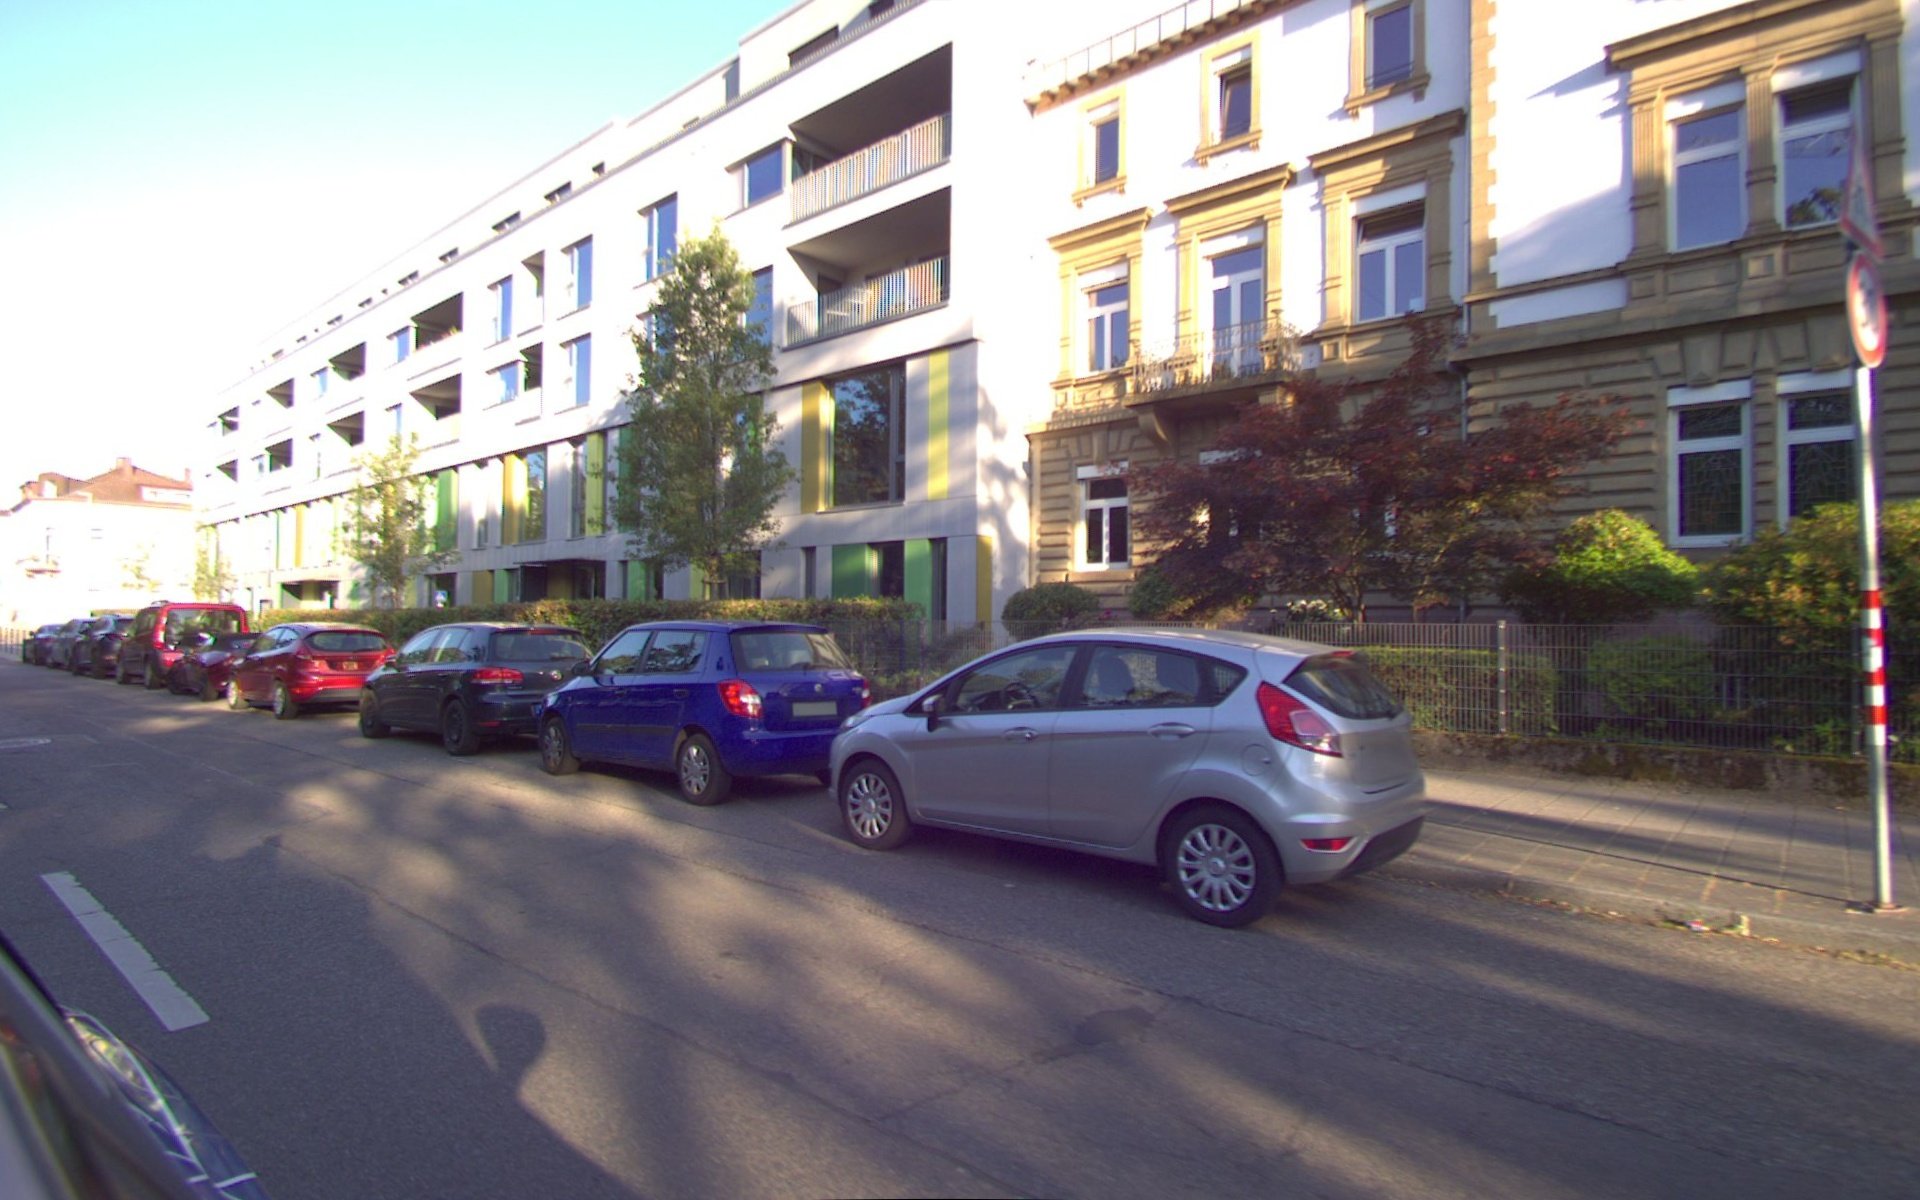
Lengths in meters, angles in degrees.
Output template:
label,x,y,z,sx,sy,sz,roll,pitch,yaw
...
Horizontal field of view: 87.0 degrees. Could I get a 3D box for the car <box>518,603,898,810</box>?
label,x,y,z,sx,sy,sz,roll,pitch,yaw
car,-2.451,0.847,9.313,3.787,1.519,1.581,-1,-4,43

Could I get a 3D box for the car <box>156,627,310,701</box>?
label,x,y,z,sx,sy,sz,roll,pitch,yaw
car,-14.122,1.197,19.592,3.730,1.290,1.540,-1,-3,40

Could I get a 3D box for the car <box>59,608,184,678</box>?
label,x,y,z,sx,sy,sz,roll,pitch,yaw
car,-21.997,1.113,26.484,4.413,1.689,1.724,-1,-3,40

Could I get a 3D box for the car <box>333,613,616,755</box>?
label,x,y,z,sx,sy,sz,roll,pitch,yaw
car,-6.055,0.940,12.427,4.052,1.466,1.582,-1,-3,40

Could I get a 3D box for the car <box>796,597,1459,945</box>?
label,x,y,z,sx,sy,sz,roll,pitch,yaw
car,0.836,0.806,6.255,3.770,1.505,1.584,-1,-3,41

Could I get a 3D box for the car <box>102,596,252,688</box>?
label,x,y,z,sx,sy,sz,roll,pitch,yaw
car,-17.842,0.945,22.998,4.235,1.904,1.789,-1,-3,40

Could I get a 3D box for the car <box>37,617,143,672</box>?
label,x,y,z,sx,sy,sz,roll,pitch,yaw
car,-26.163,1.278,30.407,4.111,1.545,1.725,-1,-2,39

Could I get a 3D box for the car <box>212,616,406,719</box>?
label,x,y,z,sx,sy,sz,roll,pitch,yaw
car,-10.676,1.024,16.504,3.859,1.466,1.582,0,-2,40

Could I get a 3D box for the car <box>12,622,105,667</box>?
label,x,y,z,sx,sy,sz,roll,pitch,yaw
car,-29.682,1.434,33.280,4.394,1.367,1.724,-1,-2,41
